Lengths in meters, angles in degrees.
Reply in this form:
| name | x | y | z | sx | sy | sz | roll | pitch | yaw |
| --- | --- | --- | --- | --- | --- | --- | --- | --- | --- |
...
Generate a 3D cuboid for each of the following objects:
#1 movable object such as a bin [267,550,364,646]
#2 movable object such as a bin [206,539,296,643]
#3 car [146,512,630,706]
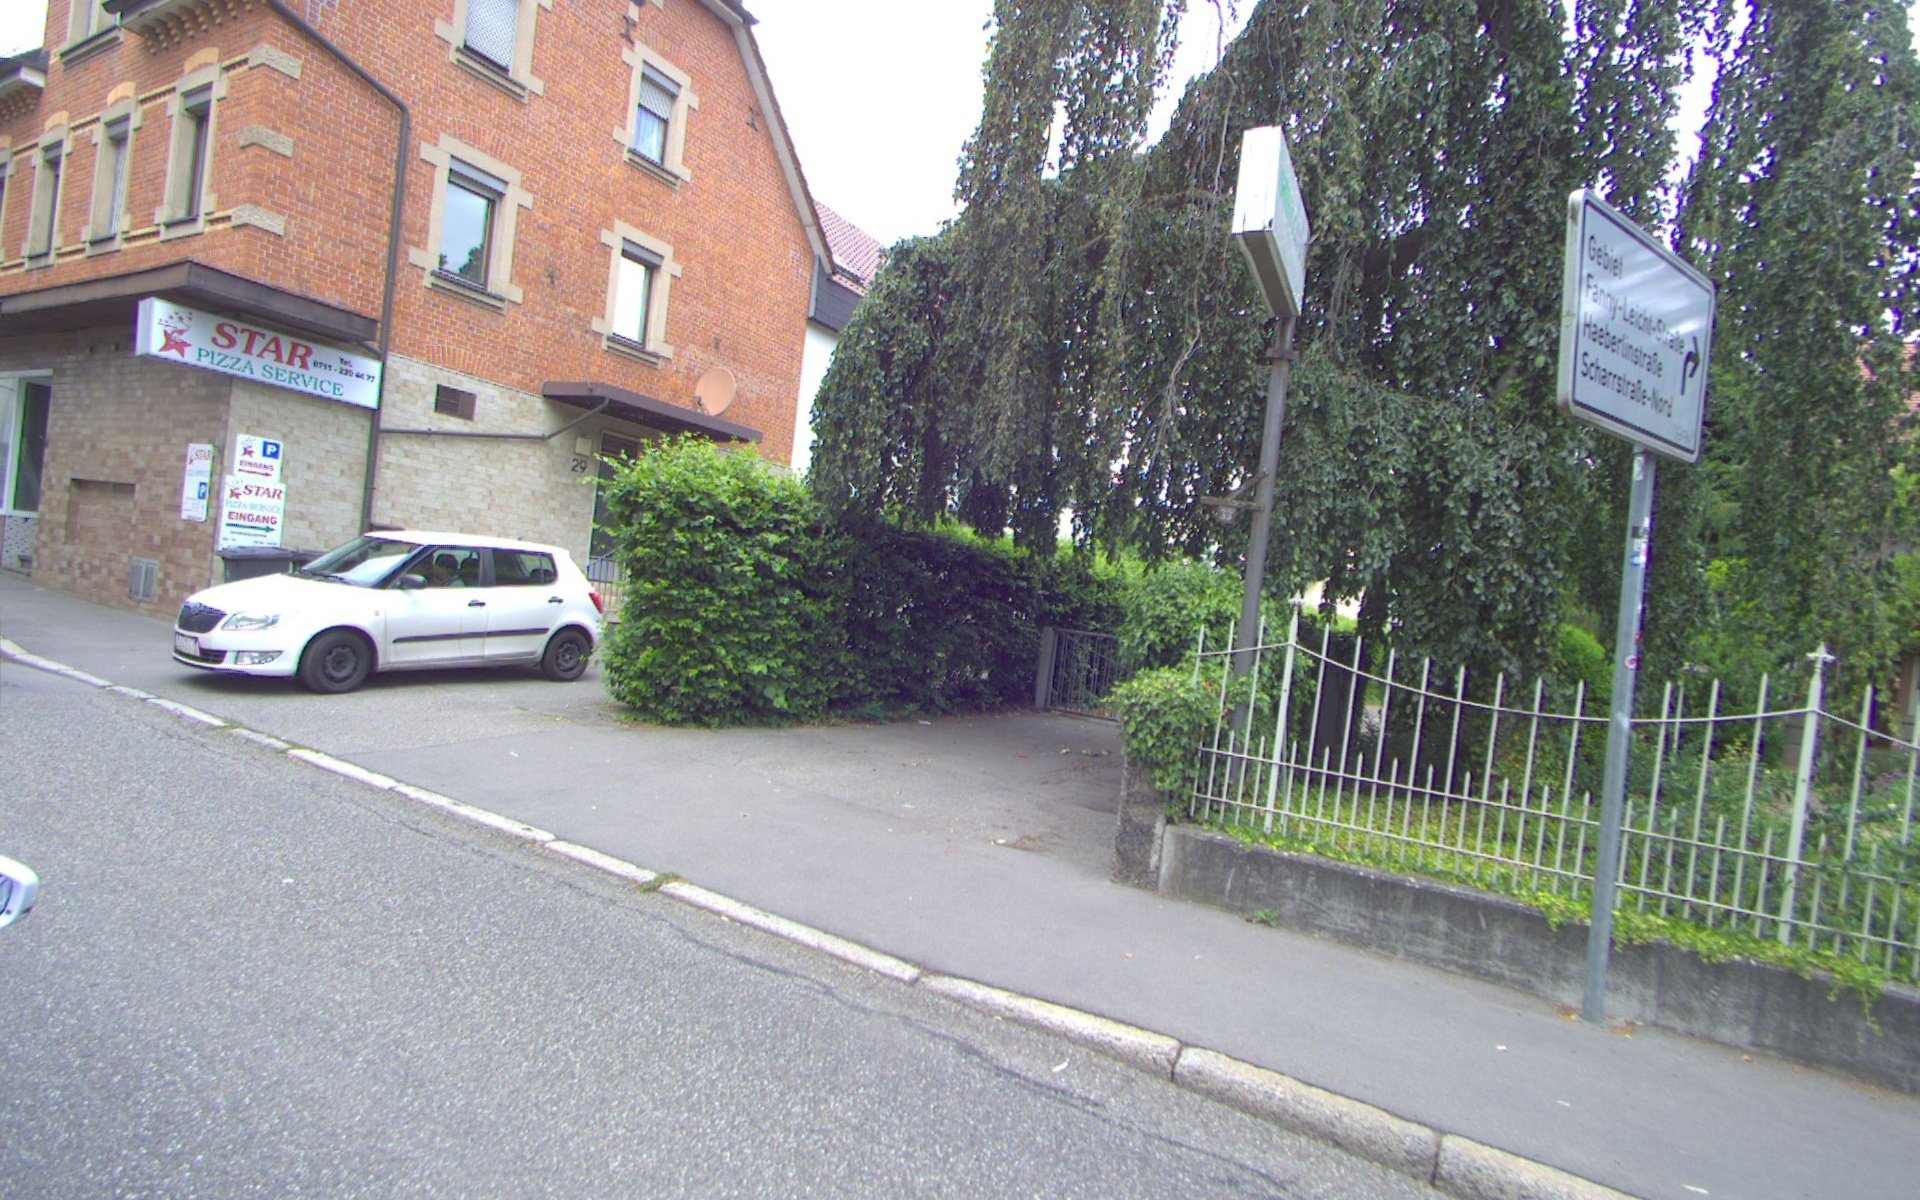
| name | x | y | z | sx | sy | sz | roll | pitch | yaw |
| --- | --- | --- | --- | --- | --- | --- | --- | --- | --- |
| movable object such as a bin | -7.857 | -0.016 | 12.267 | 0.711 | 1.073 | 0.699 | 7 | 2 | 31 |
| movable object such as a bin | -8.189 | -0.100 | 11.624 | 0.612 | 1.115 | 0.607 | 7 | 2 | 31 |
| car | -5.512 | 0.053 | 10.254 | 1.574 | 1.490 | 4.029 | 6 | 3 | 29 |
